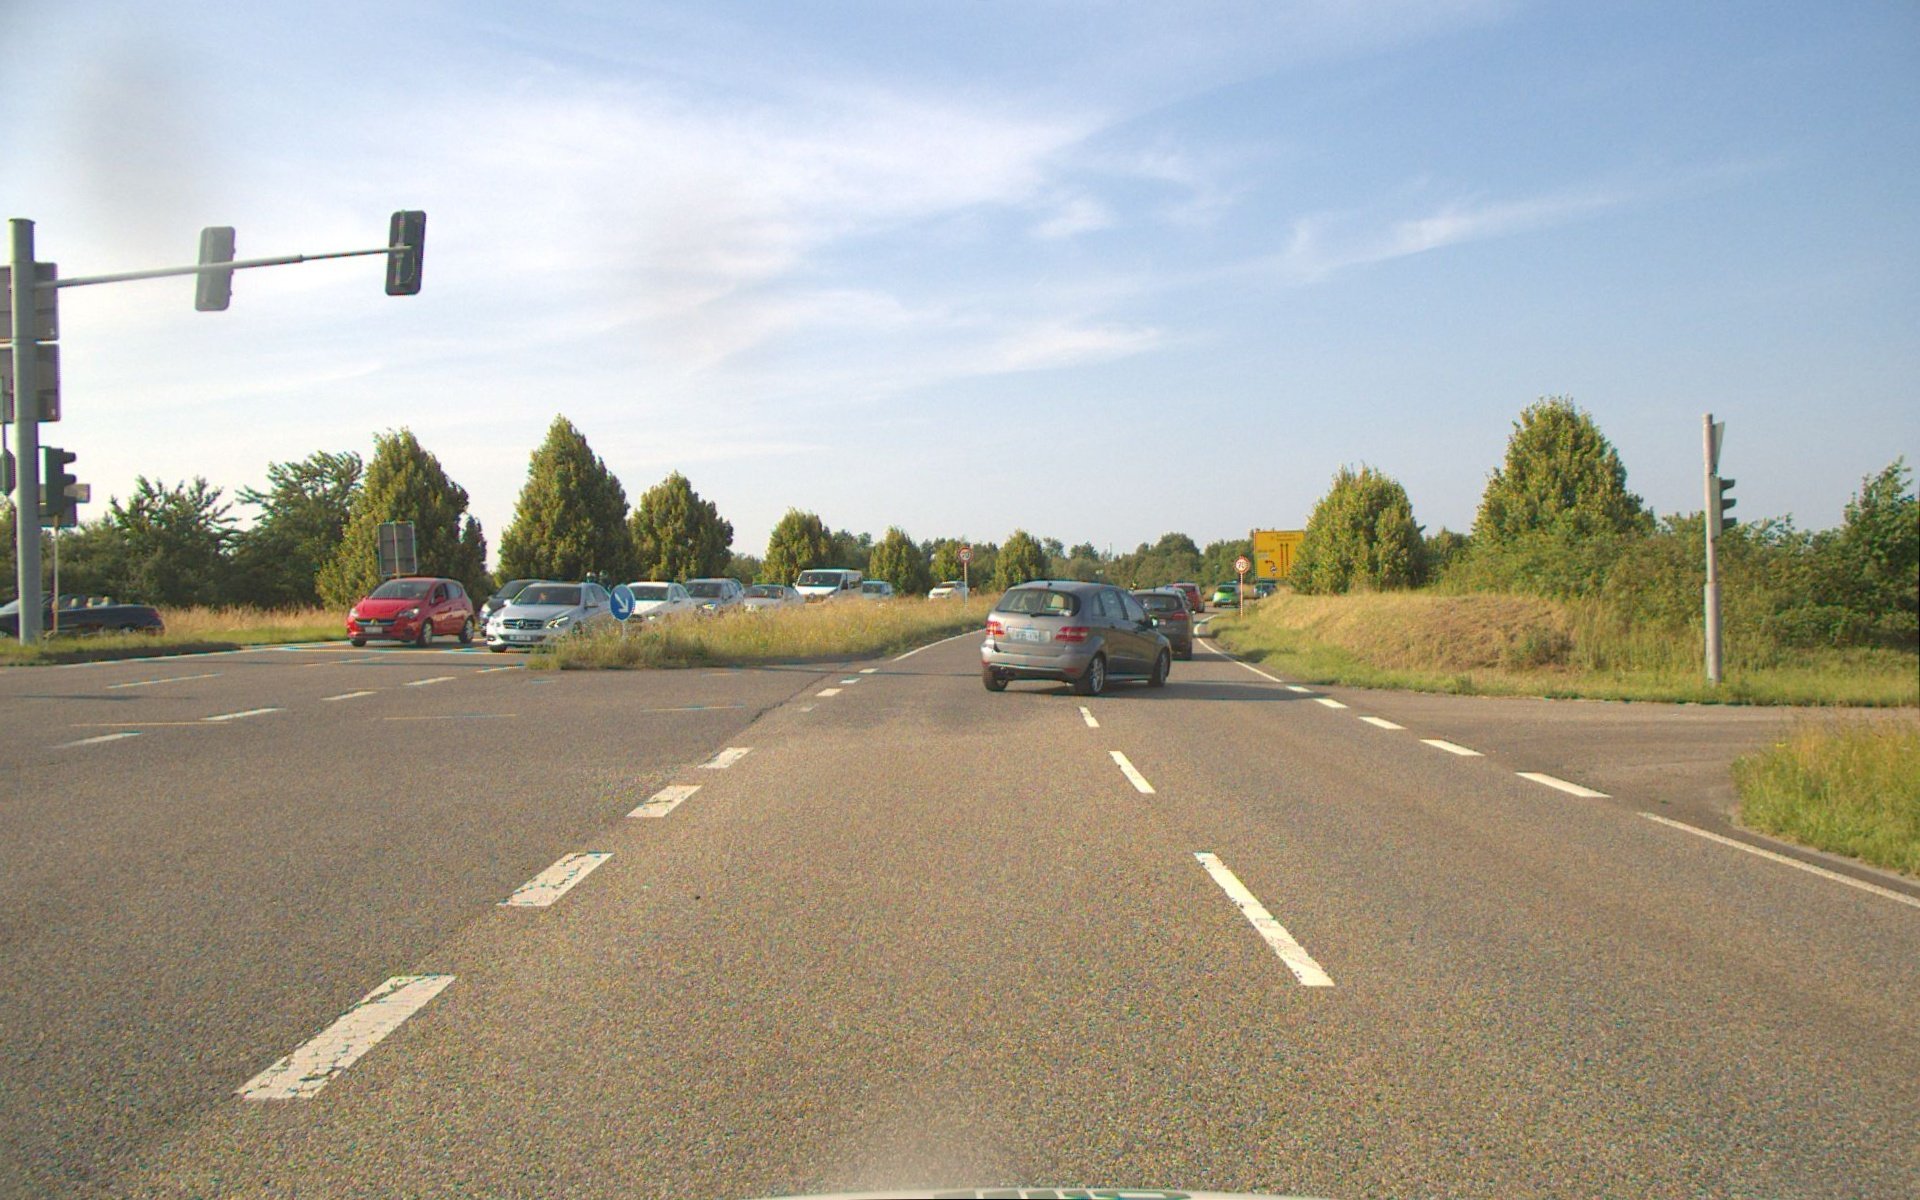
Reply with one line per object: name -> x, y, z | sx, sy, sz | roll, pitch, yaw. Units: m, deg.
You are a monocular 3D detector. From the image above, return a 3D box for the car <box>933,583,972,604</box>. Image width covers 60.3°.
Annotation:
car -> -0.487, -0.464, 112.405 | 1.748, 1.410, 4.055 | 0, 0, 13

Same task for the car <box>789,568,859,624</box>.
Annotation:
car -> -5.305, -0.169, 64.924 | 1.884, 2.114, 4.246 | -1, 0, 7

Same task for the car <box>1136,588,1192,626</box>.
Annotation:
car -> 8.247, 0.297, 66.543 | 1.874, 1.440, 3.798 | 0, -1, 12

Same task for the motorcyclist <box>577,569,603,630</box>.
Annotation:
motorcyclist -> -10.952, -0.016, 48.971 | 0.649, 1.778, 0.605 | 0, 0, -4

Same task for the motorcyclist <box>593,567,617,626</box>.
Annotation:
motorcyclist -> -11.153, -0.121, 51.983 | 0.649, 1.848, 0.605 | 0, 0, -4

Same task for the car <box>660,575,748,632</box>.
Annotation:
car -> -7.583, 0.092, 49.318 | 1.748, 1.596, 4.053 | -1, 0, 4

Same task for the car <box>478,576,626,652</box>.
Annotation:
car -> -8.620, 0.266, 35.382 | 1.748, 1.514, 4.653 | -1, 0, 4

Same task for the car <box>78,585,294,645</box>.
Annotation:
car -> -17.859, 0.302, 38.419 | 1.685, 1.304, 4.664 | 0, 0, 21

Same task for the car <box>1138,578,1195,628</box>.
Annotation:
car -> 6.608, 0.080, 52.897 | 1.735, 1.518, 3.988 | 0, 0, 7

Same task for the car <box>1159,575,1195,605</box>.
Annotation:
car -> 12.044, -0.541, 91.597 | 1.855, 1.592, 4.281 | 0, -1, 9

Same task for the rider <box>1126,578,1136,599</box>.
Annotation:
rider -> 16.125, -1.084, 155.753 | 0.849, 2.049, 0.772 | 0, 0, 15

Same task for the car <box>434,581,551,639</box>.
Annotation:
car -> -12.424, 0.241, 44.231 | 1.748, 1.458, 4.053 | -1, 0, 4

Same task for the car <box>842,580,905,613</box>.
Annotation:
car -> -3.820, -0.151, 73.478 | 1.748, 1.410, 4.055 | 0, 0, 13

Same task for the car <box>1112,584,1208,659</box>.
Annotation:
car -> 4.592, 0.447, 37.559 | 1.771, 1.593, 4.535 | 0, 0, 12

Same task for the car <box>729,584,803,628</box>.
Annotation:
car -> -6.462, 0.184, 55.542 | 1.748, 1.410, 4.053 | -1, 0, 4

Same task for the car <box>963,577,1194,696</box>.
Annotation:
car -> 1.875, 0.540, 24.925 | 1.752, 1.633, 4.185 | 0, -1, 32

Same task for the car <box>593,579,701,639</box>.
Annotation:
car -> -8.076, 0.211, 43.085 | 1.748, 1.458, 4.311 | -1, 0, 4

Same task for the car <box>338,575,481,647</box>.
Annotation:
car -> -12.232, 0.219, 36.991 | 1.684, 1.514, 3.806 | -1, 0, 4

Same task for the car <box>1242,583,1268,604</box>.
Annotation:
car -> 25.729, -0.563, 144.214 | 1.868, 1.765, 4.281 | 0, -1, 14

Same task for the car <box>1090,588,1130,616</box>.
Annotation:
car -> 7.633, 0.107, 84.003 | 1.868, 1.346, 4.281 | 0, -1, 7

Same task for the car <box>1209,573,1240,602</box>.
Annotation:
car -> 17.476, -0.822, 109.267 | 1.868, 1.831, 4.281 | 0, -1, 7
